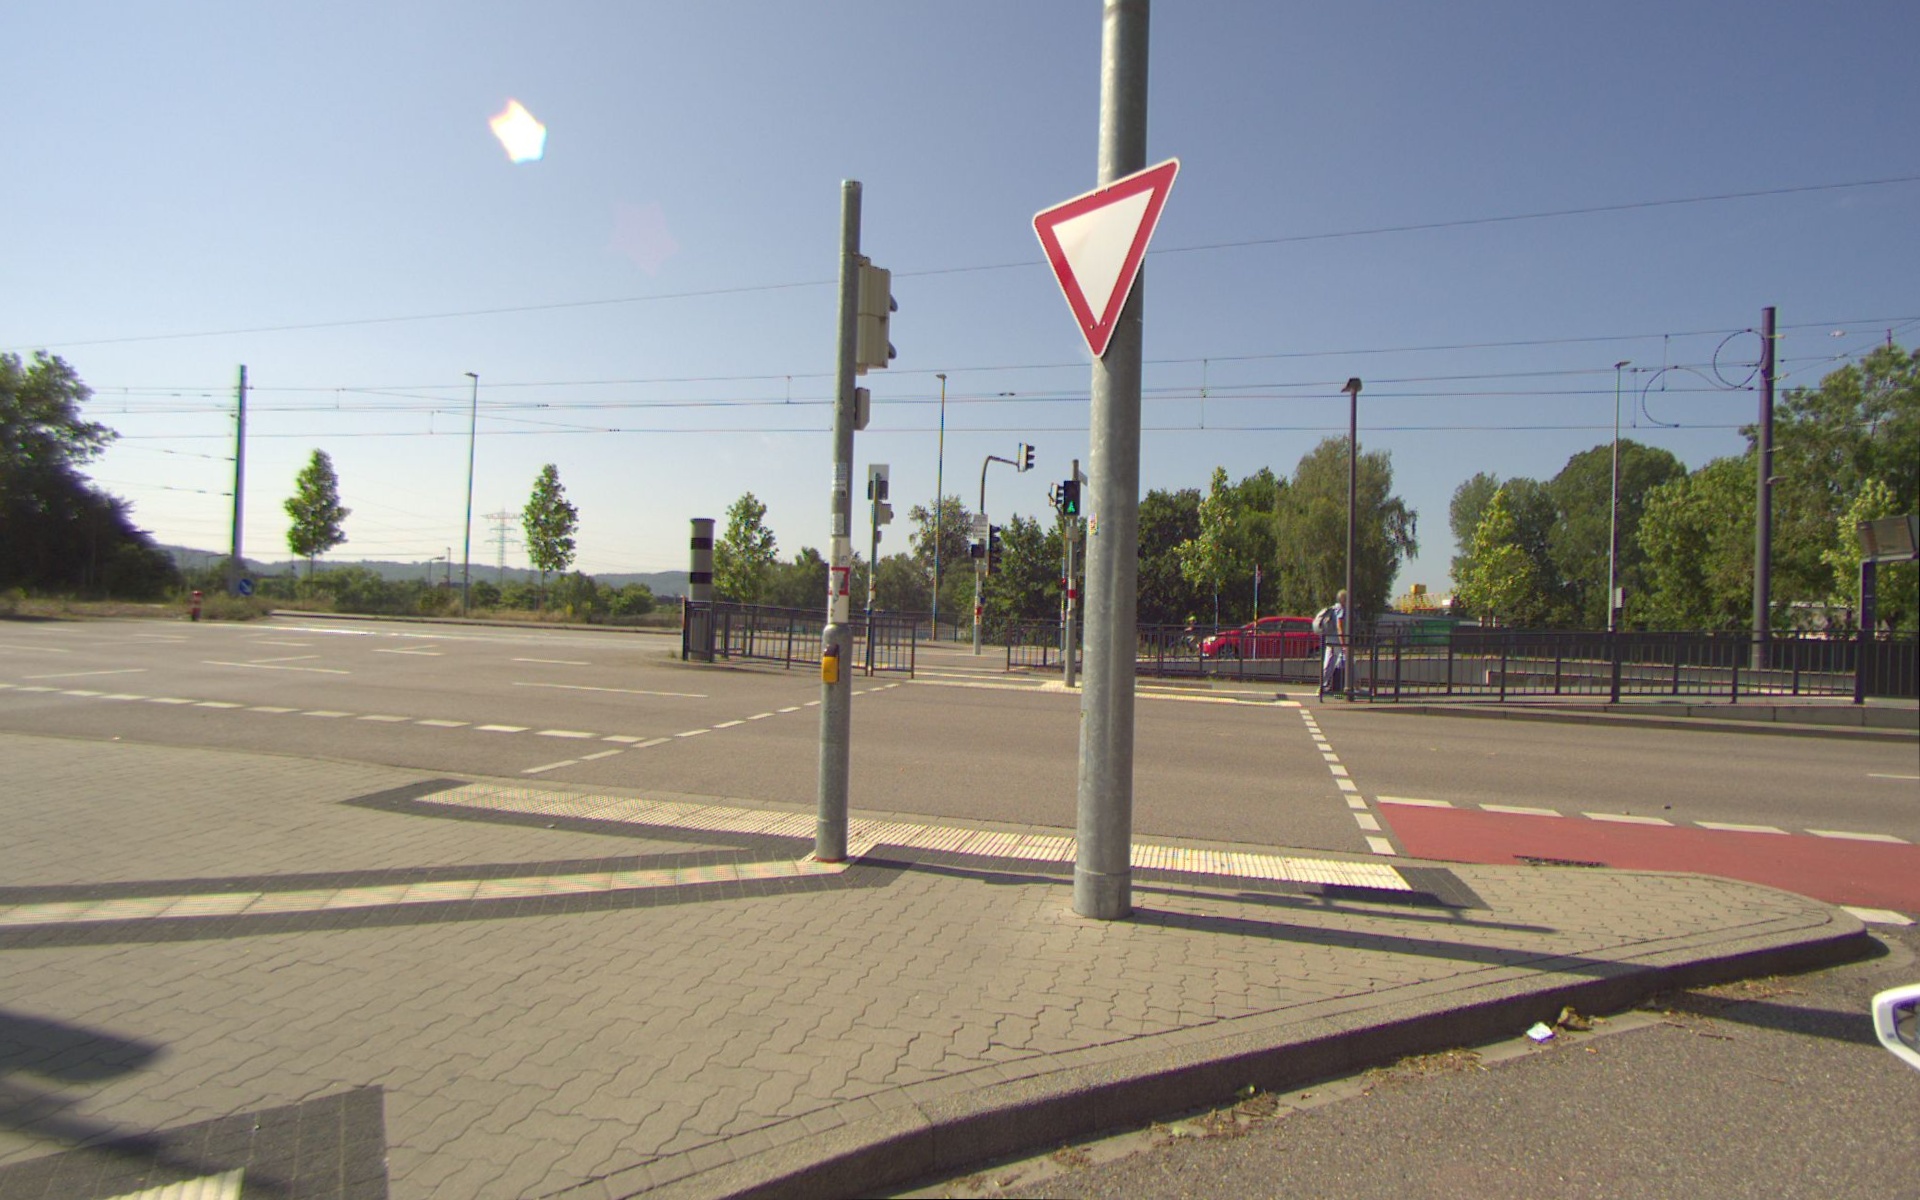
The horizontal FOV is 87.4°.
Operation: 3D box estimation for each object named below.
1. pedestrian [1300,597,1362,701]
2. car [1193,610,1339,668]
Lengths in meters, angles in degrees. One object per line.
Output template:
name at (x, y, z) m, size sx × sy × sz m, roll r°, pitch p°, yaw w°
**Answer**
pedestrian at (5.712, 0.725, 15.453) m, size 0.761 × 1.531 × 1.006 m, roll 2°, pitch 1°, yaw 26°
car at (8.807, 1.101, 29.231) m, size 3.919 × 1.464 × 1.748 m, roll 2°, pitch 0°, yaw 13°
